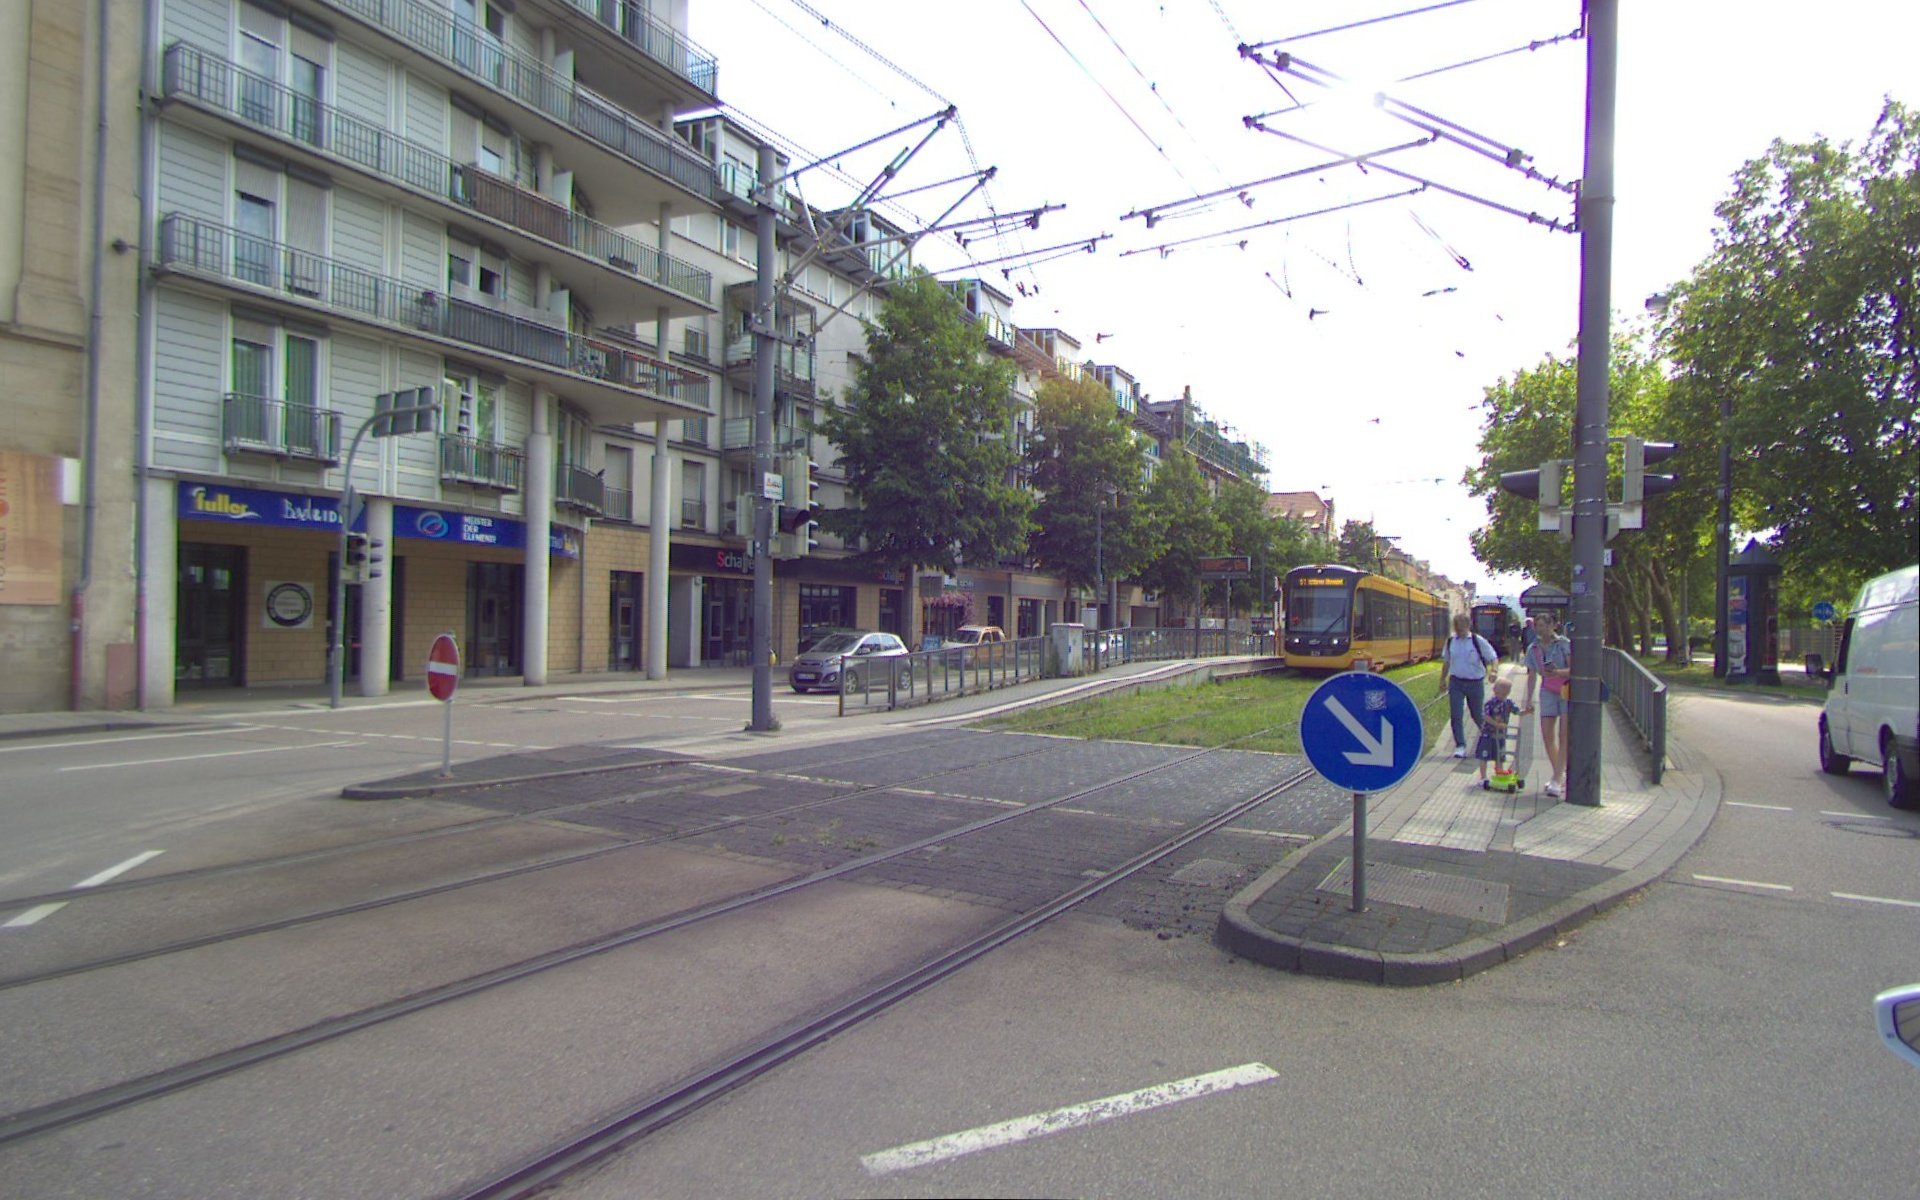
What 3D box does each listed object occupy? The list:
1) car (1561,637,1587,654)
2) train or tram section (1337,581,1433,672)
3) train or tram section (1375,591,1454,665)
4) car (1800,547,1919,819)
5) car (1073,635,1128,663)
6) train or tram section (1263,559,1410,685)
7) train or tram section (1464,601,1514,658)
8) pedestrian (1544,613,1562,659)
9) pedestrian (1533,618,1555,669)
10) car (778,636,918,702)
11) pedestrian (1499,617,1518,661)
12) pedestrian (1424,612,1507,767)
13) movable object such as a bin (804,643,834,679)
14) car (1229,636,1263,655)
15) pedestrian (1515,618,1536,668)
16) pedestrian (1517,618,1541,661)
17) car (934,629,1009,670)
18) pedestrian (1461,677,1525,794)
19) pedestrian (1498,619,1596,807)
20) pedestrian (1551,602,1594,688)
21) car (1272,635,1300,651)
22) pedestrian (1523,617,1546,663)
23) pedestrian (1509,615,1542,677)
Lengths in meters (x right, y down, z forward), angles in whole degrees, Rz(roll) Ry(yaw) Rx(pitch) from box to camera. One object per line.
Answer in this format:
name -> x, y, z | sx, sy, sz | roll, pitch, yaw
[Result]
car -> 59.427, 4.399, 97.265 | 1.787, 1.512, 3.997 | 0, -2, 26
train or tram section -> 19.432, 1.209, 45.507 | 2.755, 3.631, 10.385 | 1, -1, 30
train or tram section -> 25.367, 1.587, 55.641 | 2.684, 3.631, 12.992 | 1, -2, 30
car -> 10.316, 0.797, 10.248 | 2.018, 2.364, 4.703 | 1, -1, 32
car -> 7.363, 2.519, 52.485 | 1.694, 1.389, 3.471 | 0, -2, 30
train or tram section -> 13.620, 0.834, 35.352 | 2.766, 3.631, 12.992 | 1, -2, 30
train or tram section -> 37.799, 2.113, 71.554 | 2.684, 3.631, 12.992 | 1, -2, 30
pedestrian -> 25.252, 1.538, 42.765 | 0.462, 1.925, 0.537 | 0, -1, 6
pedestrian -> 22.019, 1.630, 37.858 | 0.691, 1.873, 0.788 | 0, -2, 29
car -> -2.665, 1.629, 24.599 | 1.609, 1.457, 3.638 | 0, -2, 29
pedestrian -> 23.146, 1.626, 42.403 | 0.701, 1.824, 1.130 | 0, -1, 29
pedestrian -> 6.248, 1.062, 12.394 | 0.836, 1.804, 1.043 | 0, -1, 31
movable object such as a bin -> -4.570, 1.980, 32.645 | 0.638, 1.132, 0.787 | 0, -1, 25
car -> 21.953, 3.456, 77.092 | 1.694, 1.389, 3.471 | 0, -2, 30
pedestrian -> 21.516, 1.645, 38.221 | 0.691, 1.873, 0.906 | 0, -2, 29
pedestrian -> 24.770, 1.729, 43.728 | 0.873, 1.824, 1.492 | 0, -1, 29
car -> 0.524, 1.976, 40.721 | 1.628, 1.599, 3.472 | 0, -2, 28
pedestrian -> 5.187, 1.301, 9.771 | 0.433, 1.077, 0.415 | 2, -1, -40
pedestrian -> 5.544, 1.027, 9.485 | 0.671, 1.688, 0.618 | 2, -1, -41
pedestrian -> 14.105, 1.020, 23.149 | 0.815, 1.924, 0.845 | 0, -1, 30
car -> 29.296, 3.853, 90.149 | 1.694, 1.389, 3.698 | 0, -2, 30
pedestrian -> 24.092, 1.654, 42.138 | 0.798, 1.897, 1.029 | 0, -1, 29
pedestrian -> 16.905, 1.363, 30.029 | 0.845, 1.798, 0.875 | 0, -2, 30
